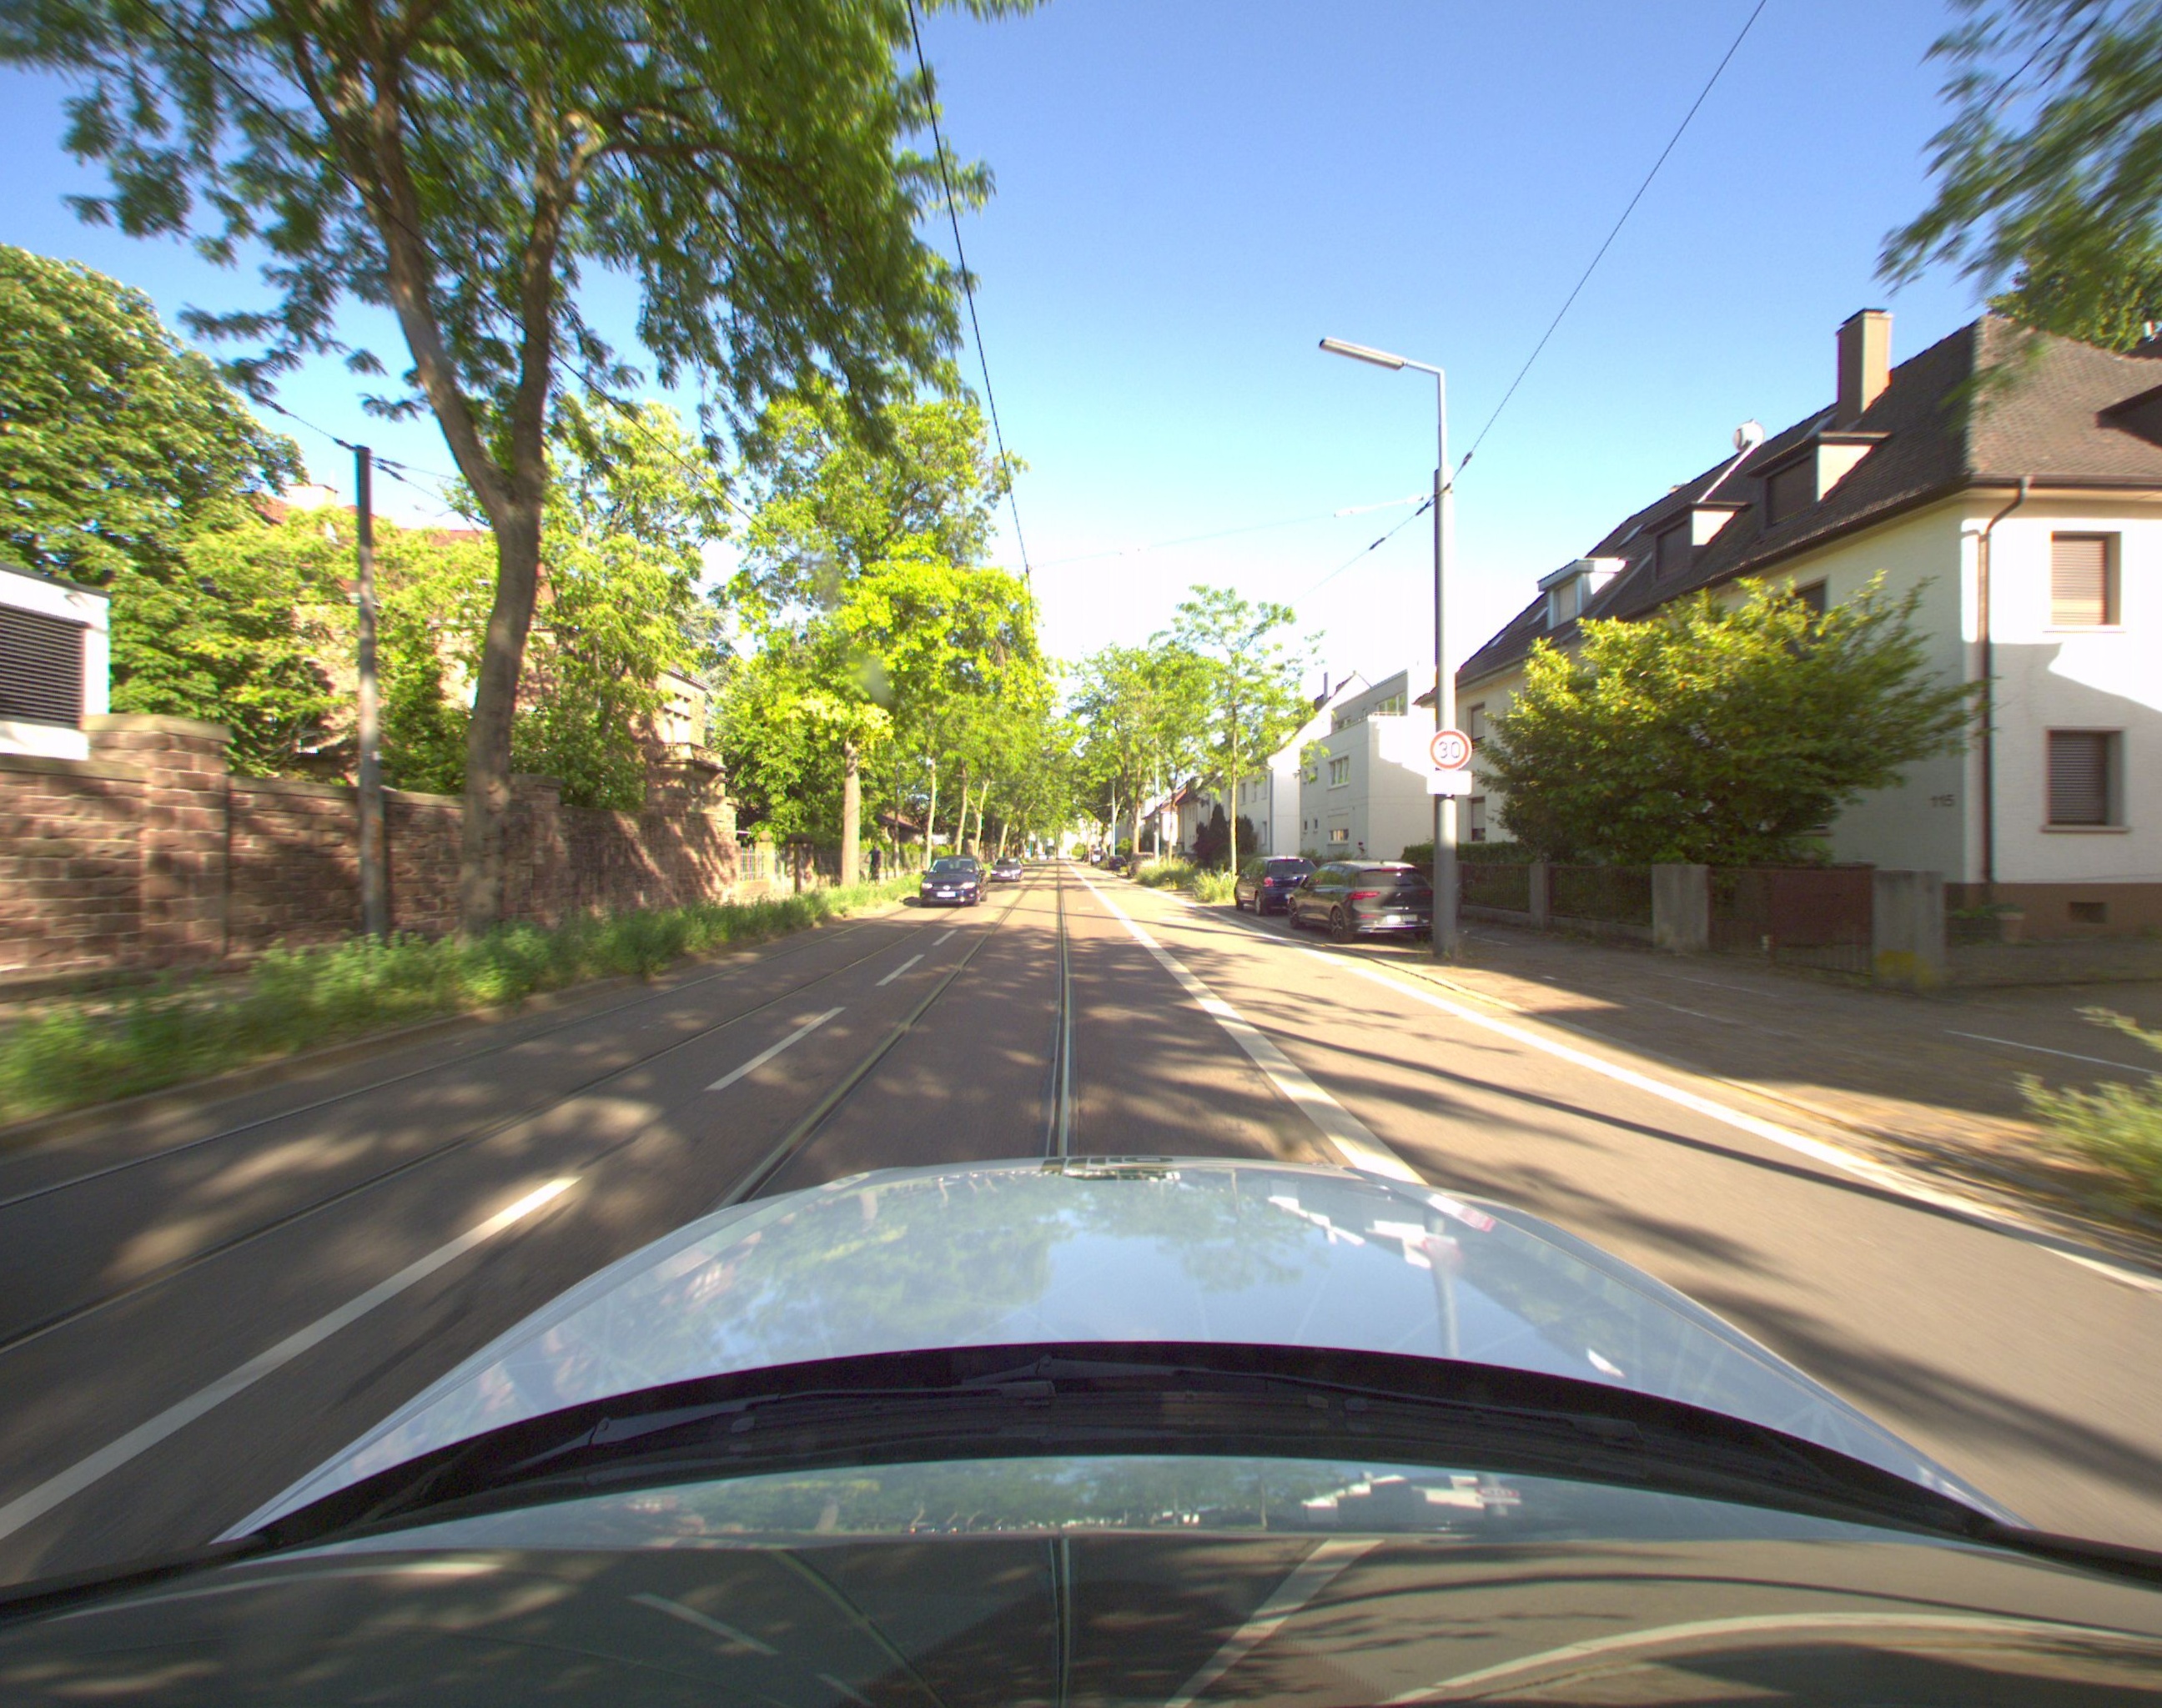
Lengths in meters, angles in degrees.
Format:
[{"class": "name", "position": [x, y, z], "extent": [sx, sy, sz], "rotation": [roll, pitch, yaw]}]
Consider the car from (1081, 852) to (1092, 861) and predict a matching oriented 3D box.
[{"class": "car", "position": [1.189, 0.560, 161.167], "extent": [1.995, 1.675, 4.395], "rotation": [-2, 0, 2]}]

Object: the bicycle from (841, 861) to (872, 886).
[{"class": "bicycle", "position": [-9.289, 0.789, 33.742], "extent": [0.709, 0.960, 2.094], "rotation": [0, 0, -1]}]

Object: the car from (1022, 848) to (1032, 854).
[{"class": "car", "position": [-17.340, -0.957, 261.290], "extent": [2.009, 1.910, 4.363], "rotation": [-2, 0, -19]}]

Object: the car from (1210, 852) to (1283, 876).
[{"class": "car", "position": [9.989, 0.589, 49.395], "extent": [4.040, 1.342, 1.876], "rotation": [0, 0, -2]}]

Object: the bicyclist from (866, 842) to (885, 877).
[{"class": "bicyclist", "position": [-9.263, 0.249, 36.746], "extent": [0.592, 1.527, 1.060], "rotation": [0, 0, -1]}]

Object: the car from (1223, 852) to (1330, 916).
[{"class": "car", "position": [5.016, 0.710, 21.407], "extent": [1.744, 1.495, 3.994], "rotation": [-1, 0, -2]}]

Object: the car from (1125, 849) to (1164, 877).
[{"class": "car", "position": [4.141, 0.555, 53.895], "extent": [1.989, 1.704, 4.473], "rotation": [-3, 0, -3]}]

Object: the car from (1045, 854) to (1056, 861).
[{"class": "car", "position": [-7.944, 0.930, 214.447], "extent": [2.006, 1.560, 4.371], "rotation": [-1, 0, -14]}]

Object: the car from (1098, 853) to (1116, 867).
[{"class": "car", "position": [2.832, 0.638, 89.928], "extent": [1.623, 1.397, 3.642], "rotation": [-3, 0, -2]}]

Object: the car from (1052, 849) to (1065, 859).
[{"class": "car", "position": [-5.466, 0.074, 196.646], "extent": [1.997, 2.458, 4.486], "rotation": [-1, 0, -15]}]

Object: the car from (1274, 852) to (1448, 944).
[{"class": "car", "position": [5.220, 0.736, 15.869], "extent": [1.744, 1.495, 4.440], "rotation": [-1, 0, -2]}]

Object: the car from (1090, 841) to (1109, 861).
[{"class": "car", "position": [2.438, -0.434, 111.541], "extent": [2.239, 2.654, 5.581], "rotation": [-2, 0, -2]}]

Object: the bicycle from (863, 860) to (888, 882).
[{"class": "bicycle", "position": [-9.268, 0.763, 36.791], "extent": [0.588, 0.960, 2.131], "rotation": [0, 0, -1]}]

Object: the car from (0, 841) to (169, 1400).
[{"class": "car", "position": [-3.989, 0.722, 0.333], "extent": [1.986, 1.524, 4.581], "rotation": [0, 0, 1]}]

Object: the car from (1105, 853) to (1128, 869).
[{"class": "car", "position": [3.477, 0.681, 80.241], "extent": [1.780, 1.448, 4.296], "rotation": [-3, 0, -3]}]

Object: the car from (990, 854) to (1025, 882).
[{"class": "car", "position": [-4.125, 0.754, 46.494], "extent": [1.744, 1.524, 4.067], "rotation": [0, 0, -2]}]

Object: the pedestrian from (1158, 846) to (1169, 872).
[{"class": "pedestrian", "position": [6.185, 0.377, 60.835], "extent": [0.624, 1.870, 0.731], "rotation": [-3, 0, -3]}]

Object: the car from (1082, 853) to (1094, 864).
[{"class": "car", "position": [1.248, 0.778, 143.642], "extent": [1.998, 1.675, 4.389], "rotation": [-2, 0, -2]}]

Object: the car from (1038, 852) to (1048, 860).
[{"class": "car", "position": [-9.005, 0.488, 192.536], "extent": [1.866, 1.675, 4.159], "rotation": [-1, 0, -10]}]

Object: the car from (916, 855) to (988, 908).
[{"class": "car", "position": [-3.962, 0.797, 25.624], "extent": [1.744, 1.524, 4.032], "rotation": [0, 0, -2]}]
